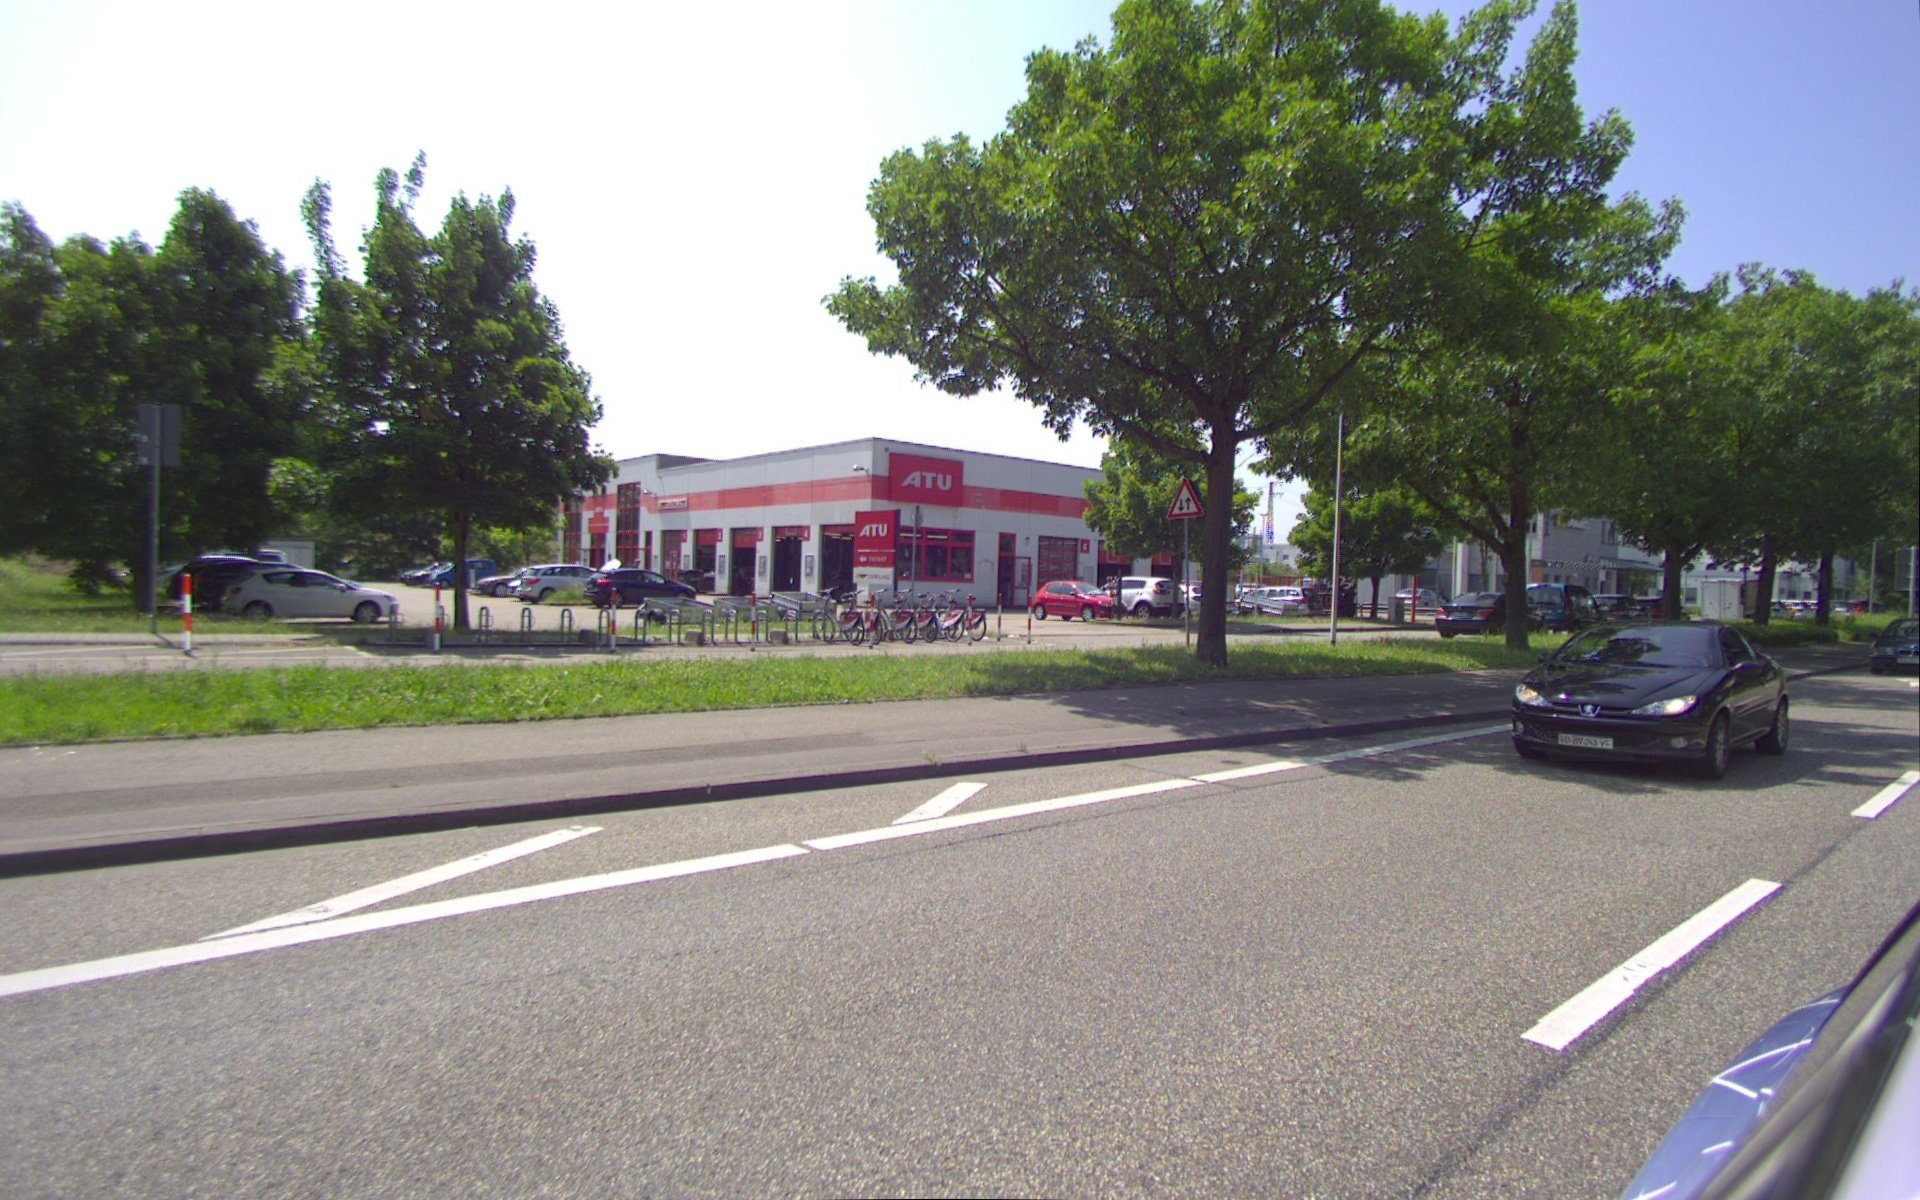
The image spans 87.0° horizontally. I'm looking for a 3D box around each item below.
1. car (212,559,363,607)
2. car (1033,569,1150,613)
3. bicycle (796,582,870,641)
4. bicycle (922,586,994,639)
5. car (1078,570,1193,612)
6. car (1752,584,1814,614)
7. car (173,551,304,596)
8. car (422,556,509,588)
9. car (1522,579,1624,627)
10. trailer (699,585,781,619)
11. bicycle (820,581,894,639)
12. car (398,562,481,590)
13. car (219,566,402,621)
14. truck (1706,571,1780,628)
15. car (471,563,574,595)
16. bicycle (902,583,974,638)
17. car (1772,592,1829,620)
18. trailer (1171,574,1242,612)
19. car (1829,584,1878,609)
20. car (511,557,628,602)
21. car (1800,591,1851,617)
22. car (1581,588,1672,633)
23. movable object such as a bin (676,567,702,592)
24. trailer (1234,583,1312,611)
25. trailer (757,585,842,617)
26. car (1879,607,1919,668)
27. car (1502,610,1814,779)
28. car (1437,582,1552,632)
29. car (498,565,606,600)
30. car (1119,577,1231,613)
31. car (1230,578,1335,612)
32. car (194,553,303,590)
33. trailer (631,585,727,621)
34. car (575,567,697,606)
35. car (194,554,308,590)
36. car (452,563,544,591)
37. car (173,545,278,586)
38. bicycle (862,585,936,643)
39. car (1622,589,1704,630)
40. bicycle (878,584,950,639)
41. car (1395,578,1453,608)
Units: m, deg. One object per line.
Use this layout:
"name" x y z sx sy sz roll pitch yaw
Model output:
"car" -21.712 -0.536 32.738 3.927 1.444 1.711 1 2 -39
"car" 4.639 -0.361 36.193 1.717 1.419 3.994 1 2 -42
"bicycle" -2.661 0.216 21.089 1.780 1.138 0.506 3 2 44
"bicycle" -0.065 0.264 23.283 1.780 1.138 0.506 3 2 44
"car" 6.462 -0.358 37.643 1.717 1.419 3.993 1 2 -42
"car" 42.617 -0.052 52.351 3.928 1.485 1.719 1 2 -40
"car" -27.117 -0.984 38.073 3.927 1.600 1.711 1 2 -39
"car" -27.050 -1.534 55.411 3.930 1.626 1.710 0 2 -41
"car" 20.731 0.097 34.179 3.928 1.485 1.719 1 2 -40
"trailer" -5.659 0.040 25.892 1.244 0.771 2.138 1 2 -38
"bicycle" -2.201 0.197 21.442 1.780 1.138 0.506 3 2 44
"car" -29.949 -1.386 58.299 3.930 1.482 1.785 0 2 -41
"car" -17.235 -0.166 26.941 3.903 1.329 1.652 0 2 -41
"truck" 37.795 -0.030 48.832 3.927 2.599 1.905 1 1 -38
"car" -20.151 -0.971 46.670 4.072 1.376 1.647 0 2 -41
"bicycle" -0.517 0.215 22.854 1.780 1.138 0.506 3 2 44
"car" 46.939 0.328 56.522 3.928 1.485 1.719 1 2 -40
"trailer" 10.668 -0.313 43.793 1.391 1.546 2.639 1 2 -42
"car" 57.665 -0.211 65.289 3.928 1.485 1.719 1 2 -40
"car" -15.771 -0.821 40.992 4.072 1.683 1.716 0 2 -41
"car" 53.145 0.256 62.134 3.928 1.485 1.719 1 2 -40
"car" 24.755 0.389 37.535 3.928 1.539 1.719 1 2 -40
"movable object such as a bin" -14.250 -1.076 53.220 1.047 1.274 1.003 1 1 -36
"trailer" 12.808 -0.132 41.501 1.551 1.065 2.639 1 2 -42
"trailer" -4.284 0.019 26.912 1.368 0.771 2.138 1 2 -38
"car" 23.595 0.875 24.401 4.072 1.388 1.641 1 0 -41
"car" 7.086 0.785 10.130 3.929 1.361 1.641 1 0 -41
"car" 16.079 0.200 30.357 3.928 1.388 1.642 1 2 -40
"car" -17.354 -0.739 43.155 3.930 1.389 1.725 0 2 -41
"car" 8.301 -0.222 39.234 1.717 1.223 3.993 1 2 -42
"car" 13.782 -0.233 43.465 1.661 1.317 3.993 1 2 -42
"car" -32.284 -1.291 45.962 3.930 1.582 1.710 0 2 -41
"trailer" -6.893 0.060 24.720 1.423 0.771 2.468 1 2 -38
"car" -12.321 -0.515 38.624 4.072 1.389 1.716 0 2 -41
"car" -30.972 -1.221 44.252 3.930 1.477 1.710 0 2 -41
"car" -23.929 -1.179 52.496 4.072 1.376 1.647 0 2 -41
"car" -34.430 -1.600 47.503 3.925 1.793 1.712 1 1 -37
"bicycle" -1.330 0.282 21.759 1.780 1.138 0.506 3 2 44
"car" 28.883 0.379 41.540 3.928 1.532 1.719 1 2 -40
"bicycle" -1.031 0.236 22.359 1.780 1.138 0.506 3 2 44
"car" 26.120 -0.394 56.900 1.754 1.616 3.938 3 2 43
